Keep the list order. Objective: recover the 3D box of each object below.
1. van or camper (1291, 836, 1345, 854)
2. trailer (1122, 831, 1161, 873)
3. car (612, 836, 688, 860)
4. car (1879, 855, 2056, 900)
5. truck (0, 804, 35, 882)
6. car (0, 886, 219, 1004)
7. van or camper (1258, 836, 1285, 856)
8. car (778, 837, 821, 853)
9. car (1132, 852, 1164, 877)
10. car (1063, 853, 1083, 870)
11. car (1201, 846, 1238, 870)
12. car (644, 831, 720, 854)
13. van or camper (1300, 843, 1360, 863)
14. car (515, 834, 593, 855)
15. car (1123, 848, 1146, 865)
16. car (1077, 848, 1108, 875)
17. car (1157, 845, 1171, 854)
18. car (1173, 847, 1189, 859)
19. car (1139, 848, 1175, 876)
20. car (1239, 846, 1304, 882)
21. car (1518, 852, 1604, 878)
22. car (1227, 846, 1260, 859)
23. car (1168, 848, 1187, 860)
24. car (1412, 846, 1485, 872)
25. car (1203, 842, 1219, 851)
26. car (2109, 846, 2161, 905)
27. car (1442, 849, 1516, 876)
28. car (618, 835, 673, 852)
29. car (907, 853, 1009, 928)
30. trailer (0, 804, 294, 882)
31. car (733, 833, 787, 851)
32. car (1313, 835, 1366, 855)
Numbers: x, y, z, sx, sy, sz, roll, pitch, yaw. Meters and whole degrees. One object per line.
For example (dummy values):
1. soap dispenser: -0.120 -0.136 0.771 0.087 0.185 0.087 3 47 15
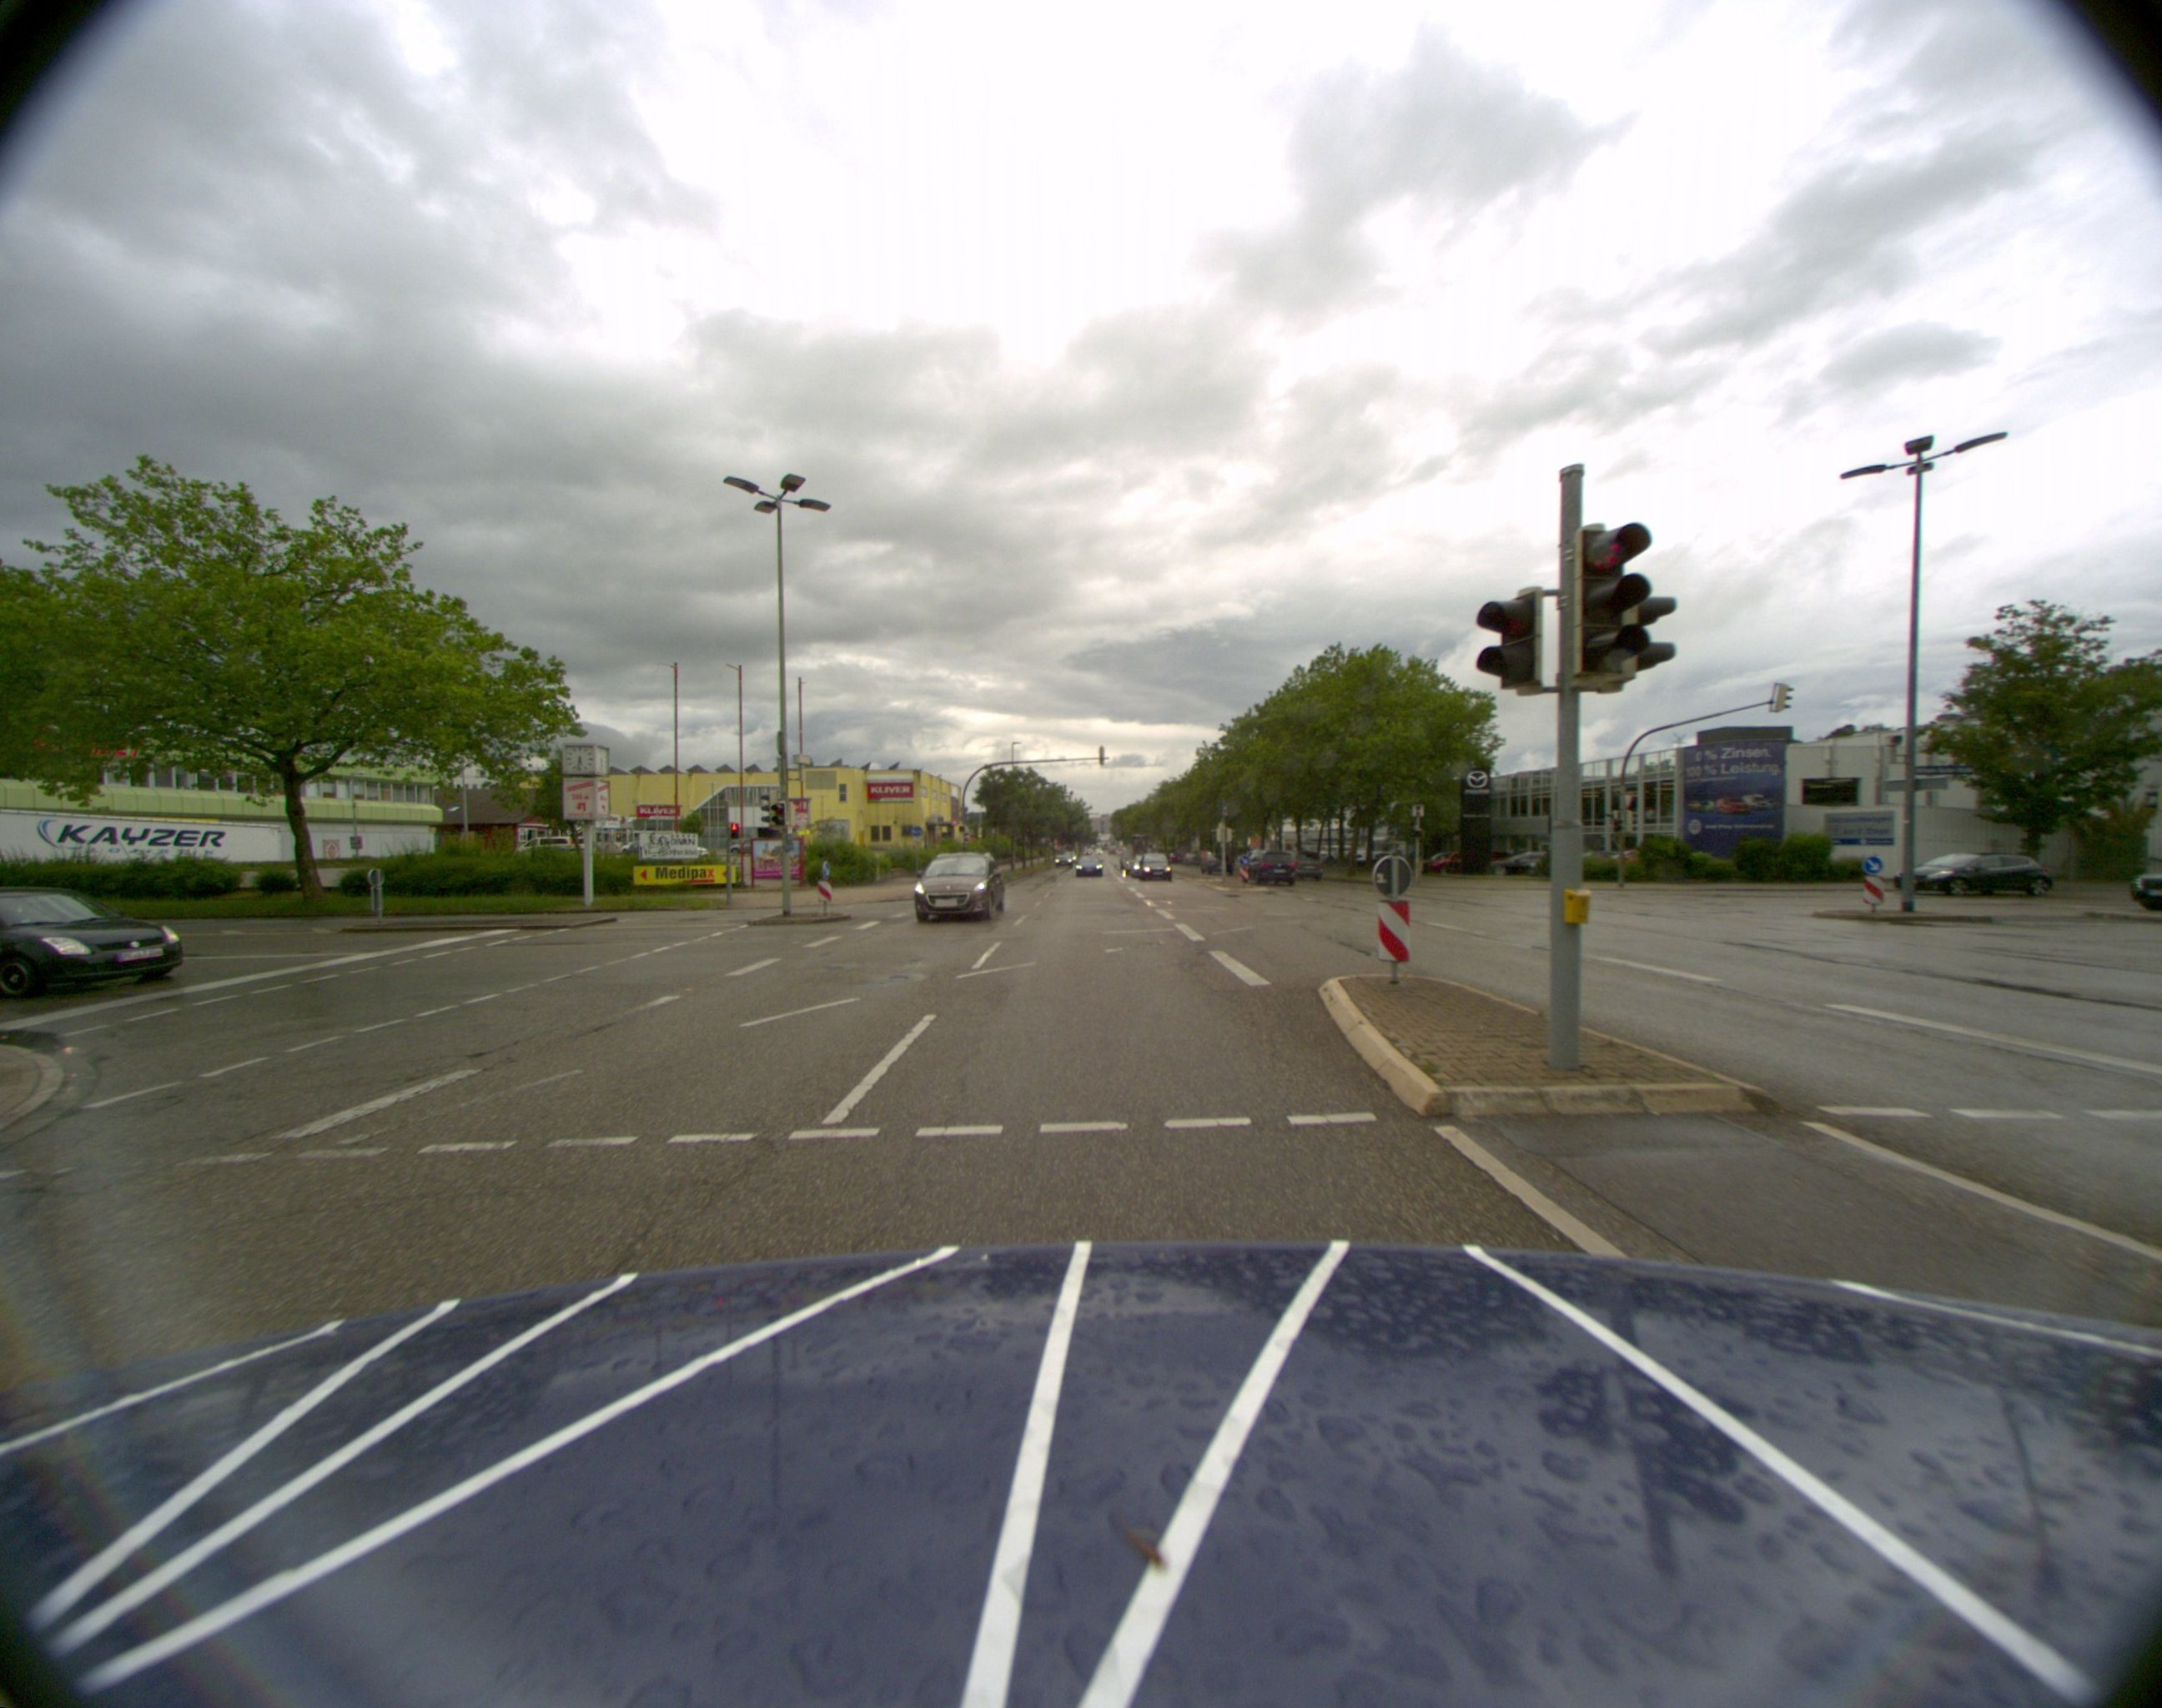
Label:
1. van or camper: 24.822 -0.944 79.549 5.306 1.811 2.262 -1 1 -24
2. trailer: 4.334 -0.155 54.984 2.378 2.880 5.544 0 1 0
3. car: -32.454 -0.446 57.358 4.578 1.769 2.000 0 1 0
4. car: 30.881 0.786 26.573 3.989 1.480 1.817 0 1 1
5. truck: -53.190 -0.499 34.845 3.159 3.694 5.137 -2 0 2
6. car: -15.966 1.292 11.407 3.989 1.480 1.817 0 2 1
7. van or camper: 24.300 -1.057 97.316 1.998 2.456 6.401 -2 1 2
8. car: -30.674 -0.988 82.871 3.997 1.769 2.000 0 1 0
9. car: 4.219 0.642 48.482 1.770 1.450 4.780 0 1 1
10. car: -0.831 0.789 83.750 1.998 1.633 4.360 -2 1 2
11. car: 9.683 0.258 53.338 1.715 1.571 3.999 0 0 -2
12. car: -32.794 -0.937 62.553 4.981 1.769 2.381 0 1 0
13. van or camper: 24.468 -0.148 74.704 5.381 1.760 2.100 -1 4 -21
14. car: -45.010 -0.815 64.962 4.981 1.769 2.381 0 1 0
15. car: 4.887 0.199 69.864 1.912 1.569 4.880 0 1 2
16. car: 0.839 0.489 52.287 1.998 1.633 4.360 -2 1 2
17. car: 12.627 -0.697 115.473 1.714 1.456 4.084 0 1 0
18. car: 12.014 -0.134 91.415 1.646 1.354 4.001 0 -1 2
19. car: 4.207 0.403 42.711 1.717 1.481 4.077 0 1 1
20. car: 9.012 0.448 36.317 1.916 1.599 4.362 0 1 -2
21. car: 26.502 0.605 42.014 3.750 1.383 1.690 0 1 -3
22. car: 27.039 -0.290 126.381 5.058 2.002 2.129 -1 1 0
23. car: 11.721 0.004 92.634 1.715 1.375 4.173 2 1 -1
24. car: 25.707 0.317 53.143 4.573 1.587 1.996 -2 1 -21
25. car: 24.364 -1.410 142.407 2.123 1.487 5.246 0 1 1
26. car: 29.137 0.537 19.021 4.158 1.480 1.879 0 1 1
27. car: 26.081 0.562 49.854 4.237 1.644 2.008 0 1 -22
28. car: -43.836 -1.043 76.529 4.381 1.729 2.000 0 1 0
29. car: -2.964 0.822 19.248 1.730 1.615 4.470 0 1 2
30. trailer: -52.943 -0.445 41.894 3.159 3.694 14.815 -2 -1 2
31. car: -31.402 -1.174 74.361 4.382 1.729 2.000 0 1 0
32. car: 24.318 -0.845 71.508 4.473 1.805 1.996 -1 1 -21
